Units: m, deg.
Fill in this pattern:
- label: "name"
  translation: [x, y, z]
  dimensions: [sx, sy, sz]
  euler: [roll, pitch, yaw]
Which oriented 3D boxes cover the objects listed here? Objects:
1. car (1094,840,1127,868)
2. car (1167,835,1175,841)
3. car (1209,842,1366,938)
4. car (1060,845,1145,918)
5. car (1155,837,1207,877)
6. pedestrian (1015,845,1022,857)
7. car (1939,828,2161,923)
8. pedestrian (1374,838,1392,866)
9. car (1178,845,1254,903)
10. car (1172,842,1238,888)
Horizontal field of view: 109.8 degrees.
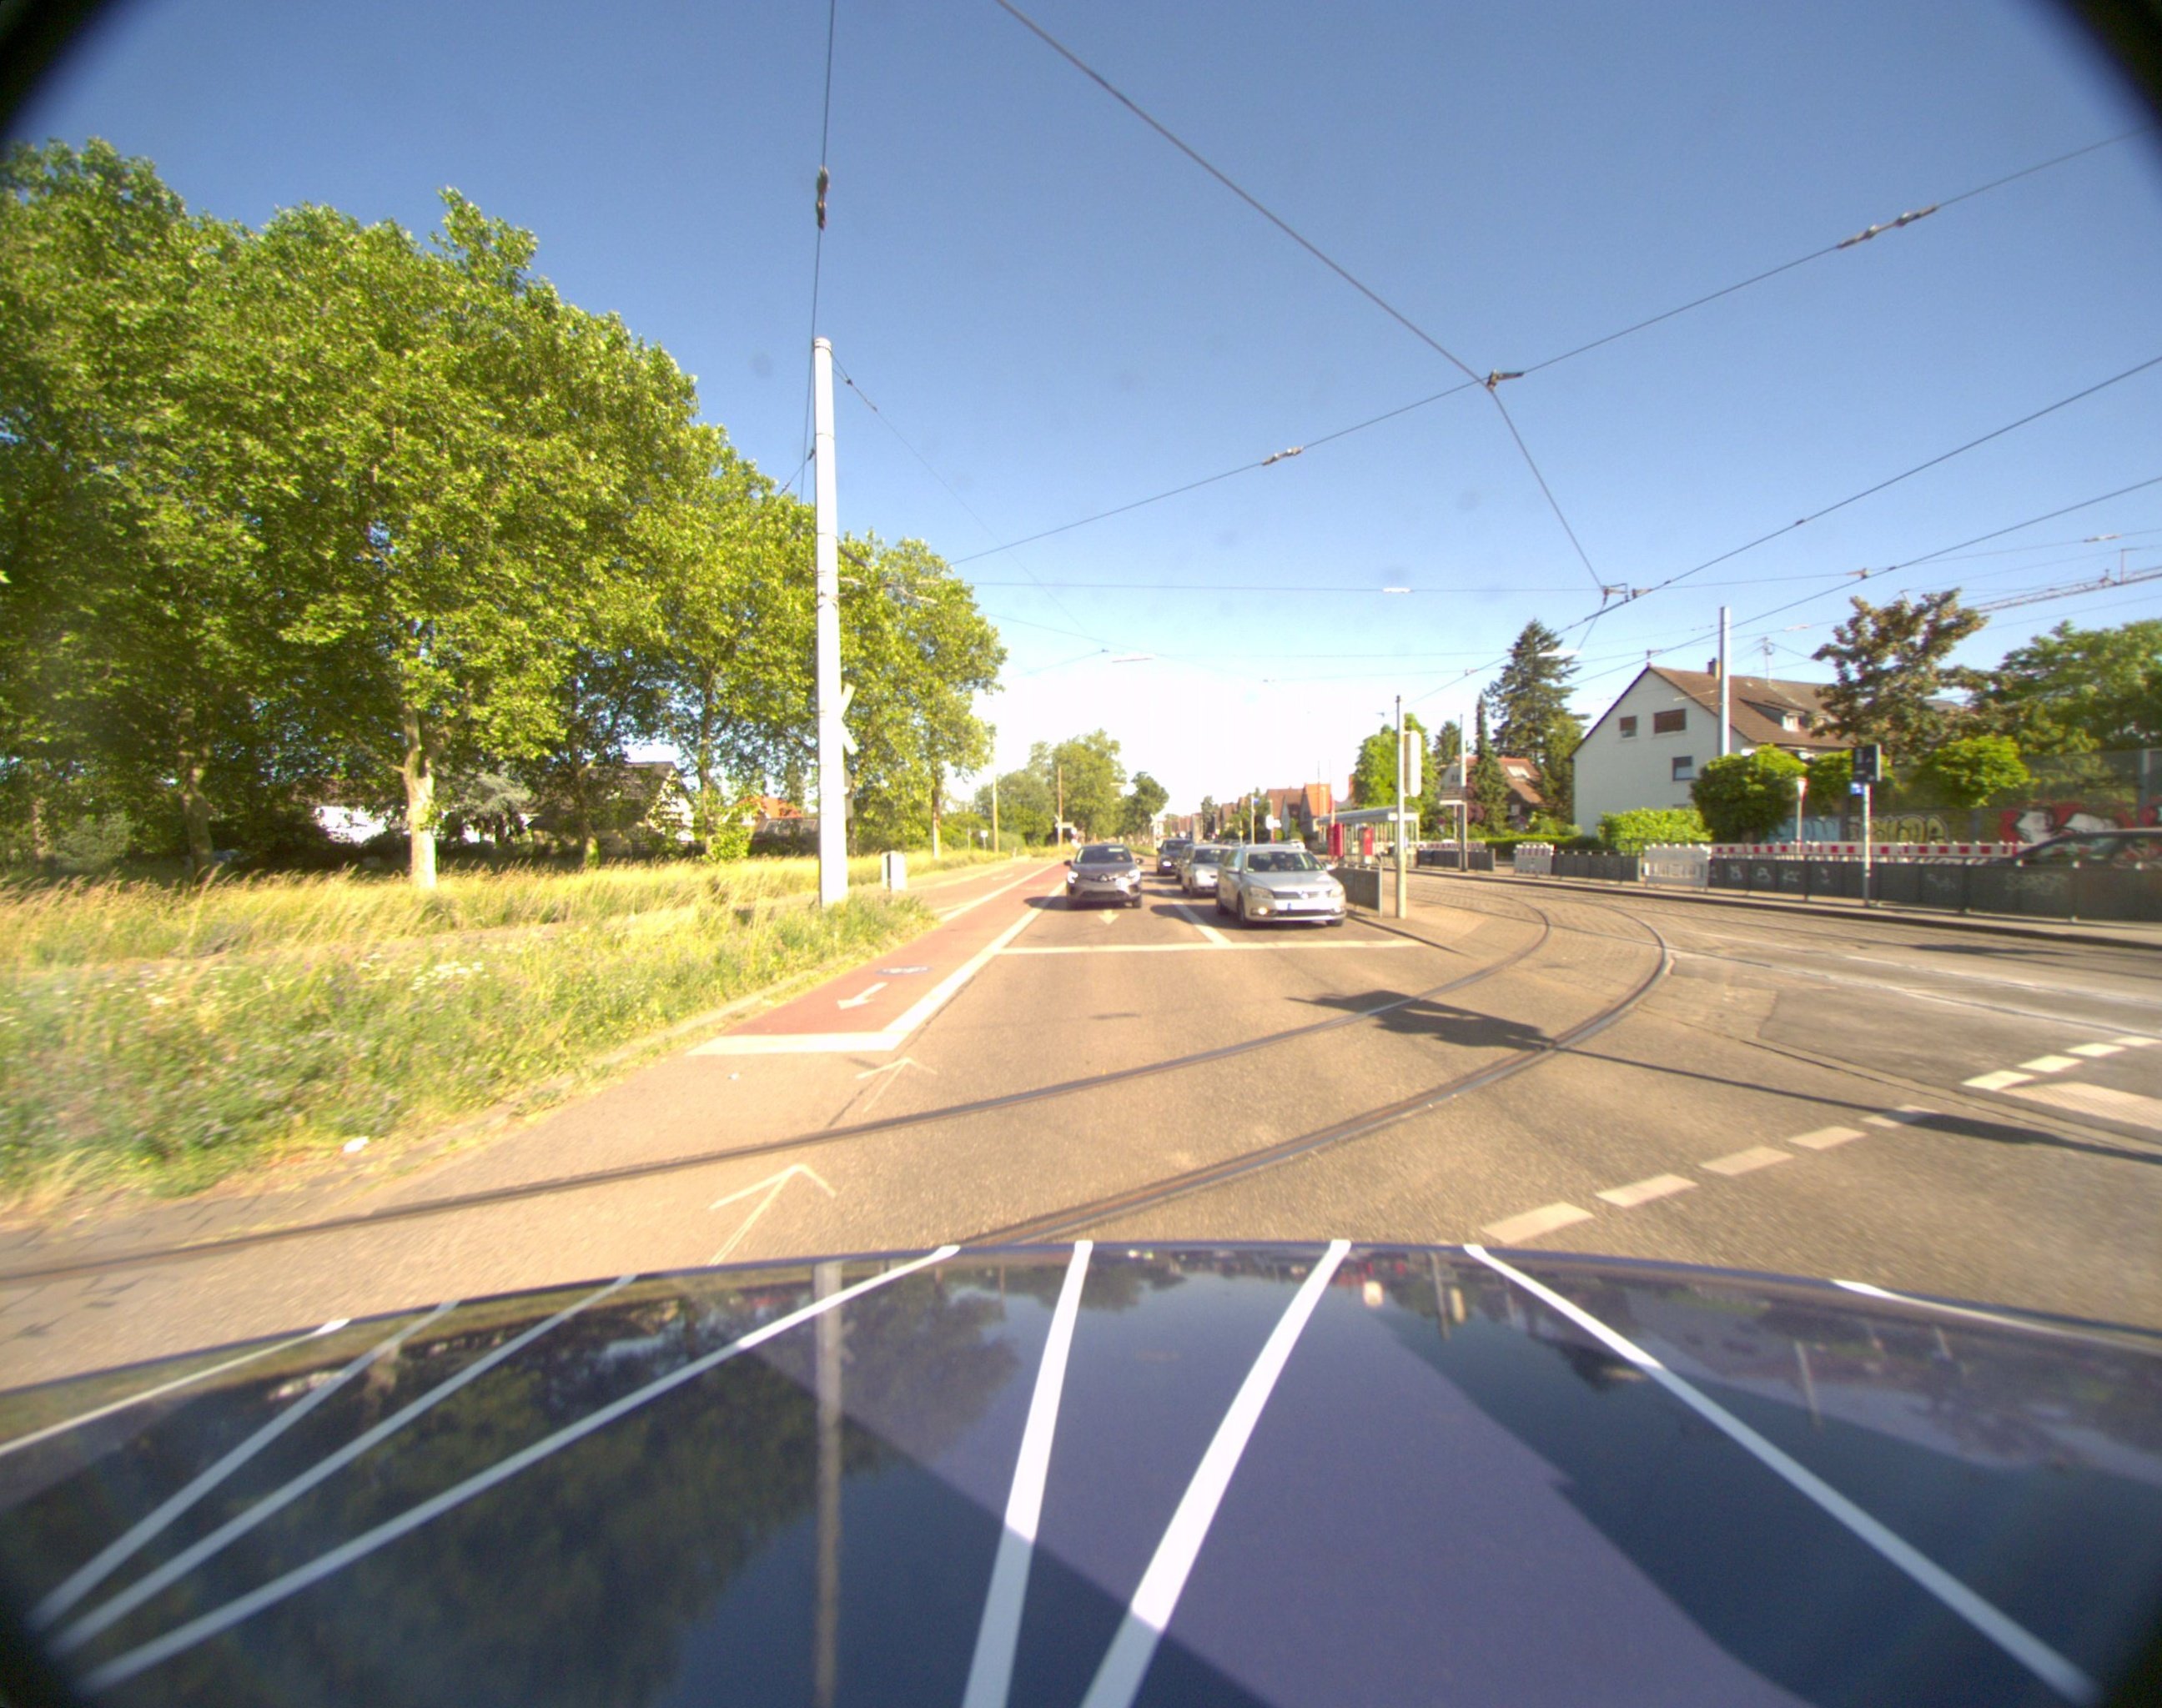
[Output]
- label: "car"
  translation: [1.734, -0.020, 44.750]
  dimensions: [1.839, 1.541, 3.815]
  euler: [-1, 1, 2]
- label: "car"
  translation: [24.889, -4.392, 209.397]
  dimensions: [1.998, 1.762, 4.000]
  euler: [-1, 1, 3]
- label: "car"
  translation: [3.712, 0.553, 14.499]
  dimensions: [1.881, 1.519, 4.420]
  euler: [-1, 1, 1]
- label: "car"
  translation: [0.565, 0.581, 18.525]
  dimensions: [1.838, 1.541, 3.816]
  euler: [-1, 1, 3]
- label: "car"
  translation: [4.508, 0.076, 34.873]
  dimensions: [1.885, 1.687, 4.300]
  euler: [-1, 1, 1]
- label: "pedestrian"
  translation: [-5.549, -0.288, 67.483]
  dimensions: [0.482, 1.027, 0.454]
  euler: [-1, 2, 3]
- label: "car"
  translation: [17.502, 0.300, 12.913]
  dimensions: [1.687, 1.450, 3.703]
  euler: [-1, 1, 2]
- label: "pedestrian"
  translation: [15.515, -0.126, 38.994]
  dimensions: [0.623, 1.407, 0.711]
  euler: [-1, 1, 1]
- label: "car"
  translation: [3.746, 0.515, 21.526]
  dimensions: [1.585, 1.460, 3.414]
  euler: [-1, 1, 1]
- label: "car"
  translation: [4.510, 0.342, 28.168]
  dimensions: [1.755, 1.525, 4.194]
  euler: [-1, 1, 0]
